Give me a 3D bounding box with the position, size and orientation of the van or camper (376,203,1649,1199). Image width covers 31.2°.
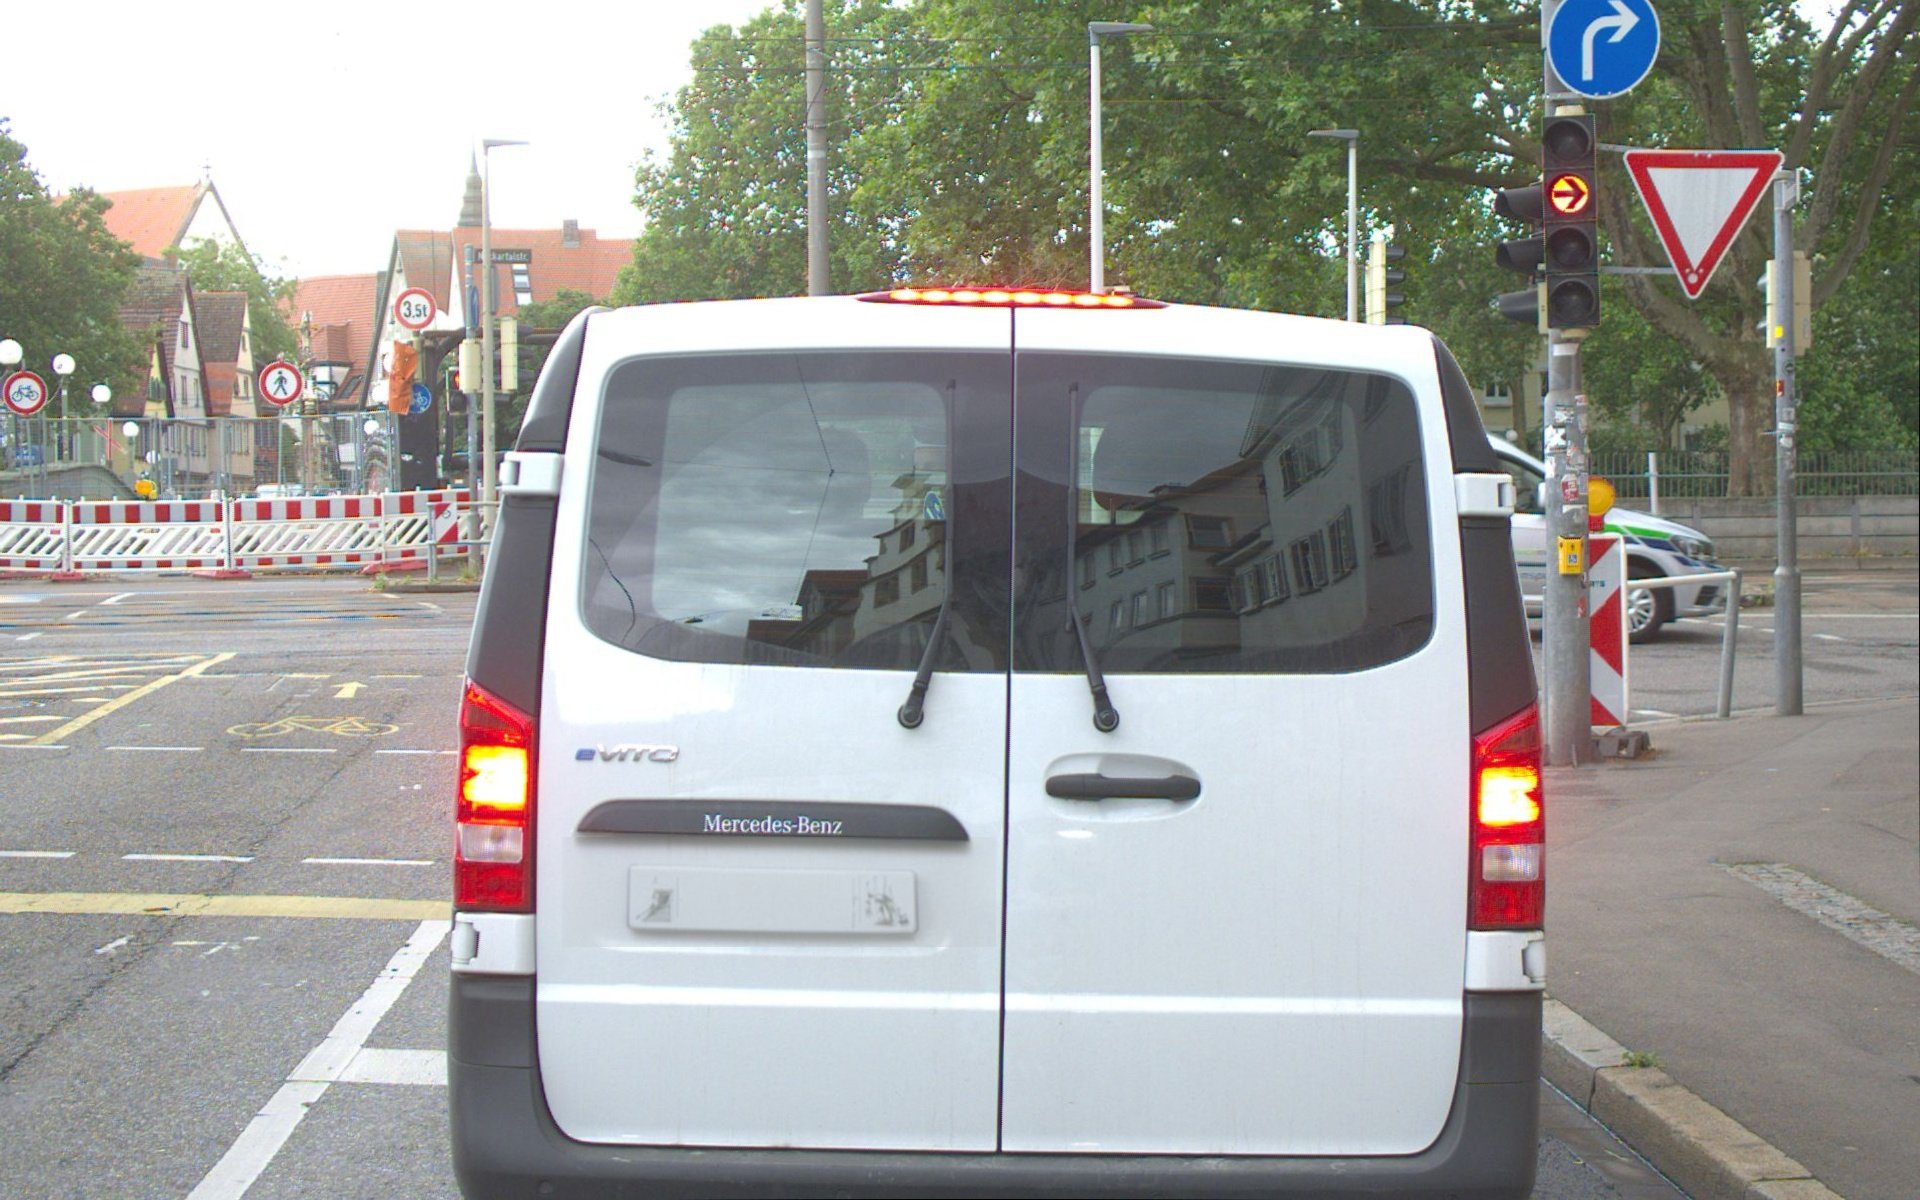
[{"bbox_3d":[-0.089,0.353,7.482,1.937,1.918,4.441,1,0,-5],"label":"van or camper"}]

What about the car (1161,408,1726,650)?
[{"bbox_3d":[3.840,-0.616,27.902,4.347,1.796,2.000,1,4,4],"label":"car"}]
